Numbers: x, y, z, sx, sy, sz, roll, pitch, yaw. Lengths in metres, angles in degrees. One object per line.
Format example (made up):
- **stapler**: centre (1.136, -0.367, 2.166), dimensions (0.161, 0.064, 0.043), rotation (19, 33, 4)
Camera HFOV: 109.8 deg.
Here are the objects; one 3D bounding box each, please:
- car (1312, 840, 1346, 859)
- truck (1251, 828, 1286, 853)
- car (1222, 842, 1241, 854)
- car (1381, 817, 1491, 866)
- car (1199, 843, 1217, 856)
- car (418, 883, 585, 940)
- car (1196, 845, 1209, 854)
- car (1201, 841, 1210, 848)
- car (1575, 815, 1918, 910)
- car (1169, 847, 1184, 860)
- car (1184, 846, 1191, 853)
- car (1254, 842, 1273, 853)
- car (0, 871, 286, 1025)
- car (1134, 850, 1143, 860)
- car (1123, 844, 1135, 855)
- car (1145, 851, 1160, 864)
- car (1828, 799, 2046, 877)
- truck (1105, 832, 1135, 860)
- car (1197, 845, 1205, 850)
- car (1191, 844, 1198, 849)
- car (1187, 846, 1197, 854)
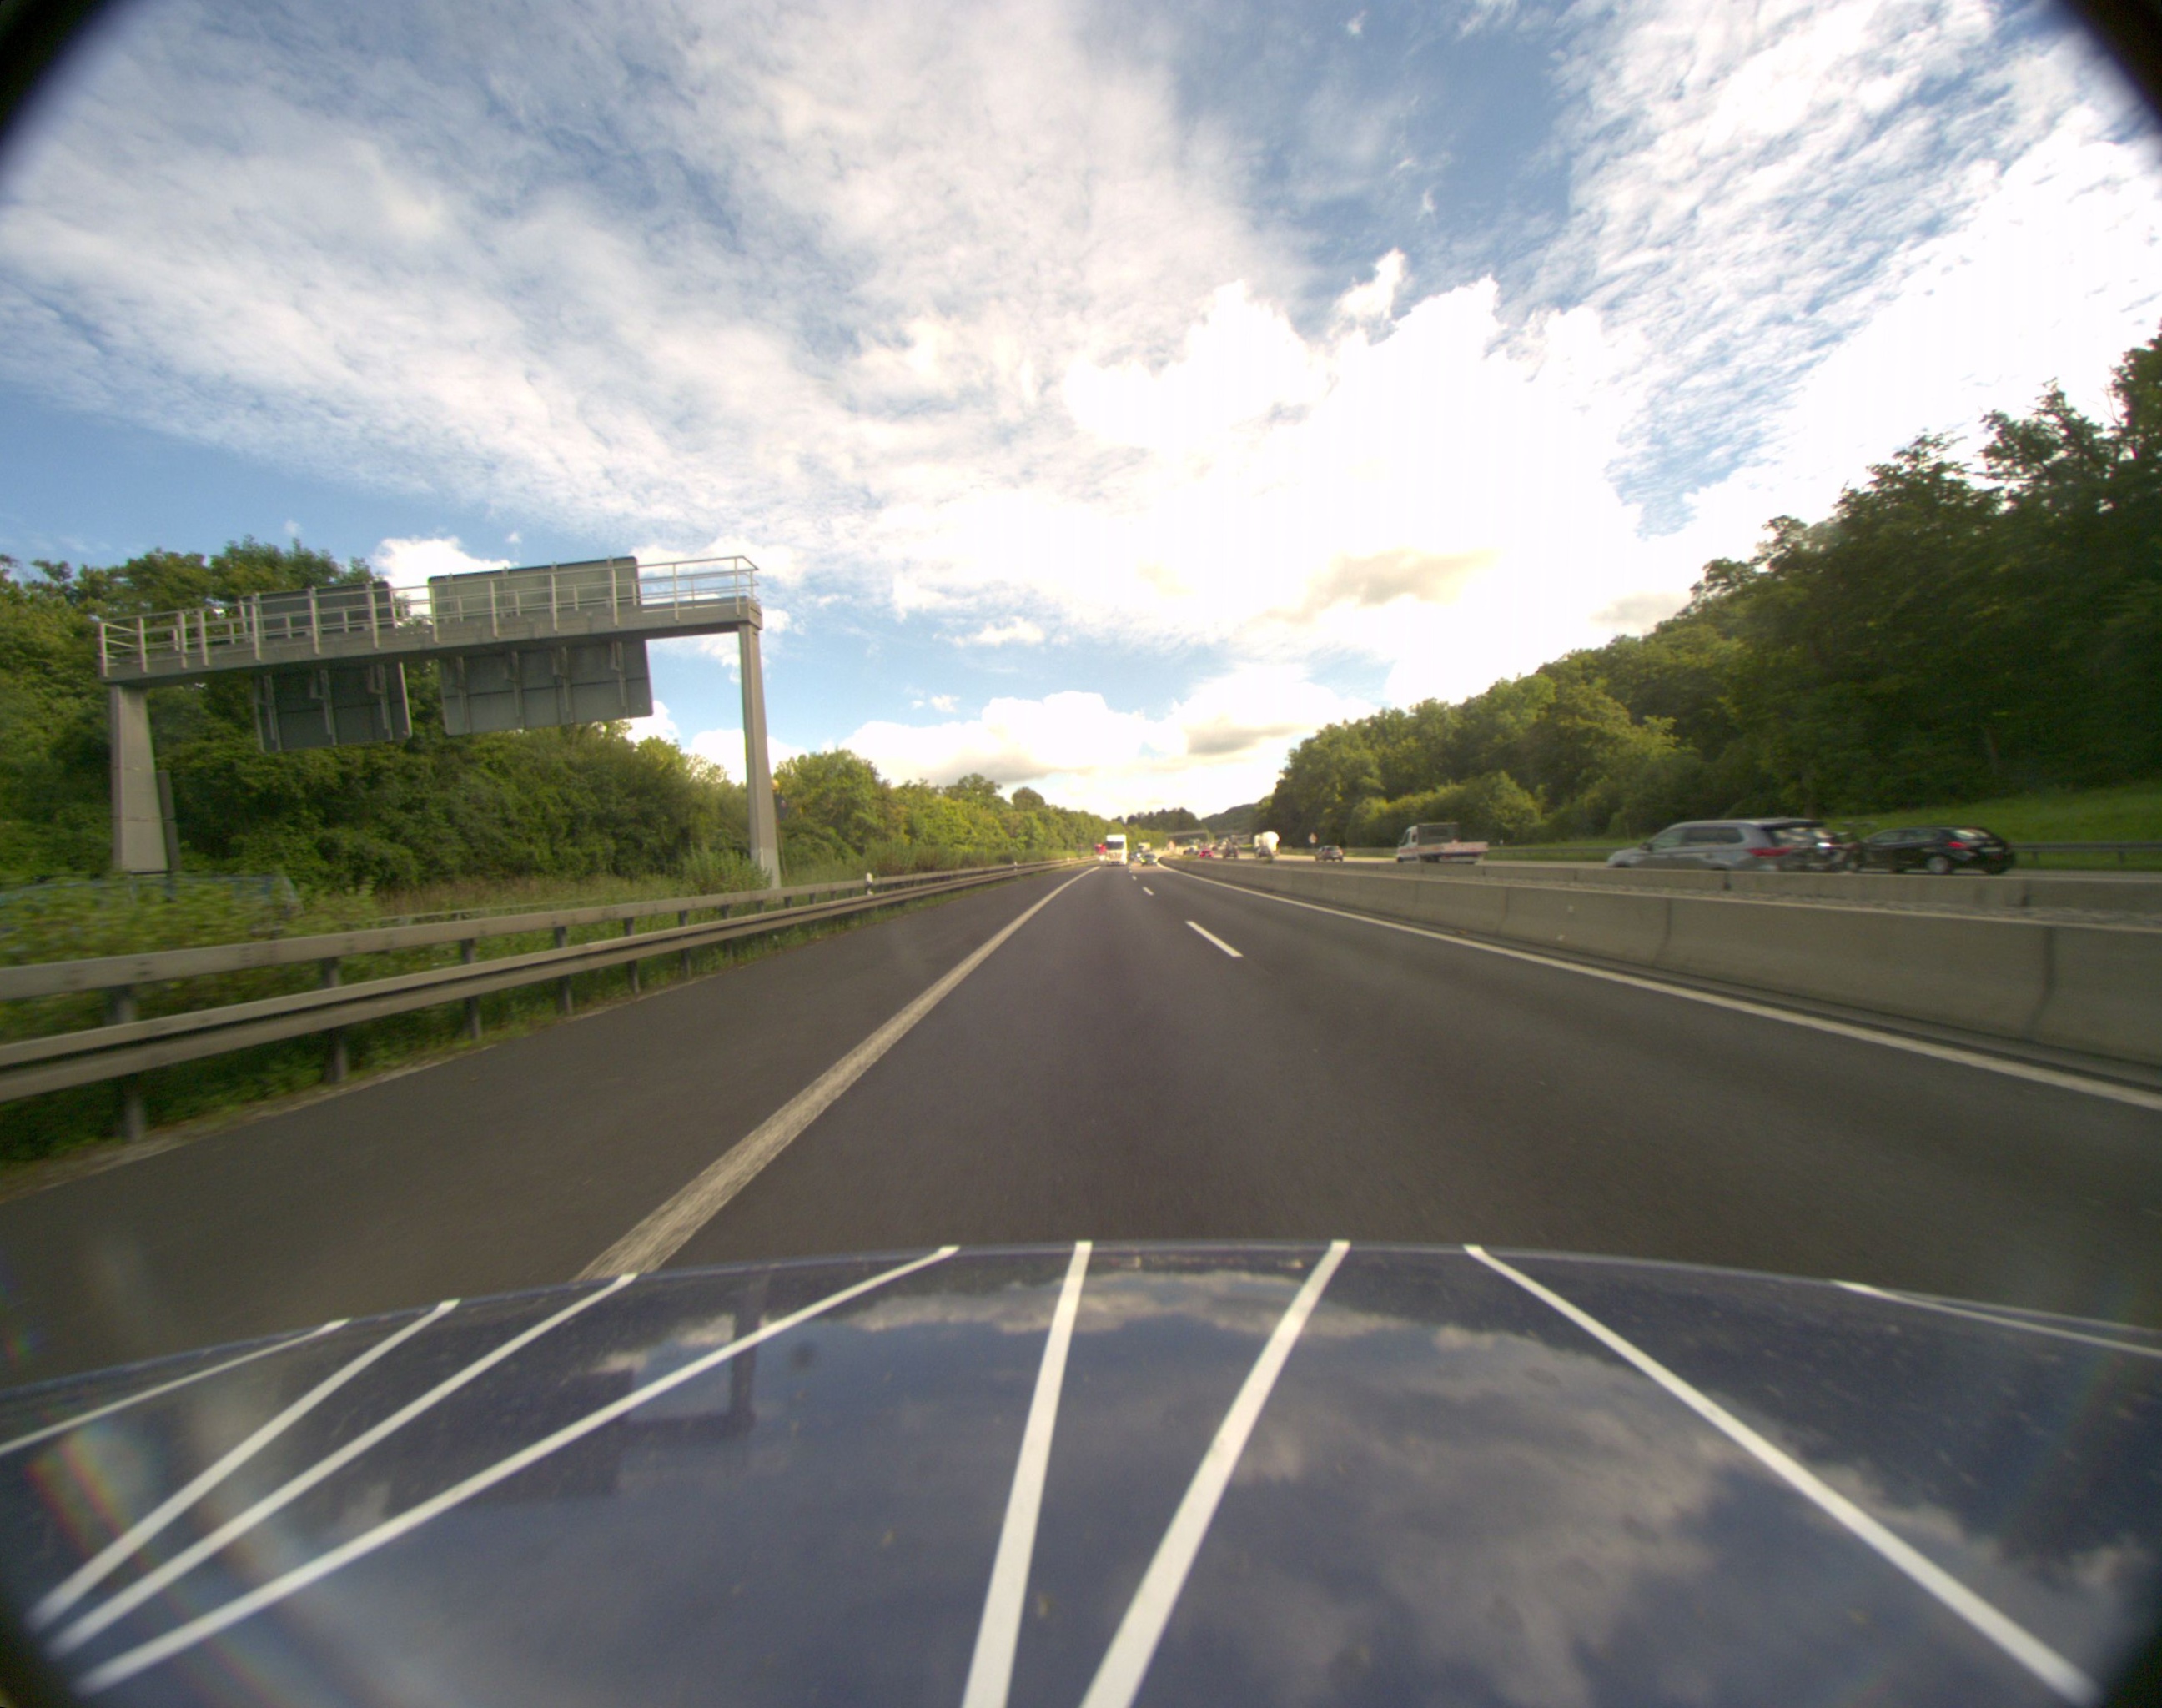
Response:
- **car**: centre (22.972, -0.445, 70.429), dimensions (1.730, 1.629, 4.191), rotation (-3, 0, 0)
- **truck**: centre (32.622, -2.368, 132.887), dimensions (3.458, 4.103, 13.681), rotation (-2, 1, 4)
- **car**: centre (22.059, -0.836, 111.650), dimensions (2.041, 1.605, 5.041), rotation (-3, 0, 4)
- **car**: centre (17.571, -0.586, 38.246), dimensions (2.205, 2.117, 8.078), rotation (-3, 0, 4)
- **car**: centre (17.441, -0.601, 104.358), dimensions (1.805, 1.597, 4.483), rotation (-3, 0, 3)
- **car**: centre (-19.898, 1.918, 26.425), dimensions (1.771, 1.501, 4.872), rotation (-3, 0, 4)
- **car**: centre (21.716, -0.870, 135.935), dimensions (1.771, 1.469, 4.540), rotation (-3, 0, 4)
- **car**: centre (35.338, -2.700, 215.293), dimensions (2.104, 1.743, 4.001), rotation (-3, 0, 4)
- **car**: centre (13.070, 0.127, 15.692), dimensions (1.987, 1.501, 5.961), rotation (-2, 0, 2)
- **car**: centre (15.237, -0.103, 121.299), dimensions (1.998, 2.022, 4.001), rotation (-2, 0, 4)
- **car**: centre (25.367, -1.134, 181.070), dimensions (1.601, 1.489, 4.065), rotation (-3, 0, 5)
- **car**: centre (25.581, -0.931, 106.516), dimensions (1.904, 1.456, 4.343), rotation (-3, 0, 4)
- **car**: centre (-15.668, 1.365, 11.432), dimensions (1.998, 2.002, 4.910), rotation (-3, 0, 3)
- **car**: centre (13.110, 0.239, 174.379), dimensions (1.998, 2.002, 4.000), rotation (-2, 1, 4)
- **car**: centre (8.837, -0.848, 139.895), dimensions (1.998, 1.798, 3.810), rotation (-2, 0, 4)
- **car**: centre (8.444, 0.380, 90.252), dimensions (1.662, 1.464, 4.001), rotation (-3, 0, 4)
- **car**: centre (25.179, -0.435, 22.613), dimensions (1.998, 2.022, 4.000), rotation (-2, 0, 2)
- **truck**: centre (5.373, -1.134, 102.278), dimensions (2.795, 3.562, 11.463), rotation (-2, 1, 8)
- **car**: centre (39.373, -2.145, 249.363), dimensions (2.103, 1.743, 4.002), rotation (-2, 0, 6)
- **car**: centre (38.903, -2.523, 261.458), dimensions (2.125, 1.743, 4.002), rotation (-2, 0, 6)
- **car**: centre (22.406, -0.730, 153.108), dimensions (1.601, 1.521, 3.843), rotation (-3, 0, 3)
